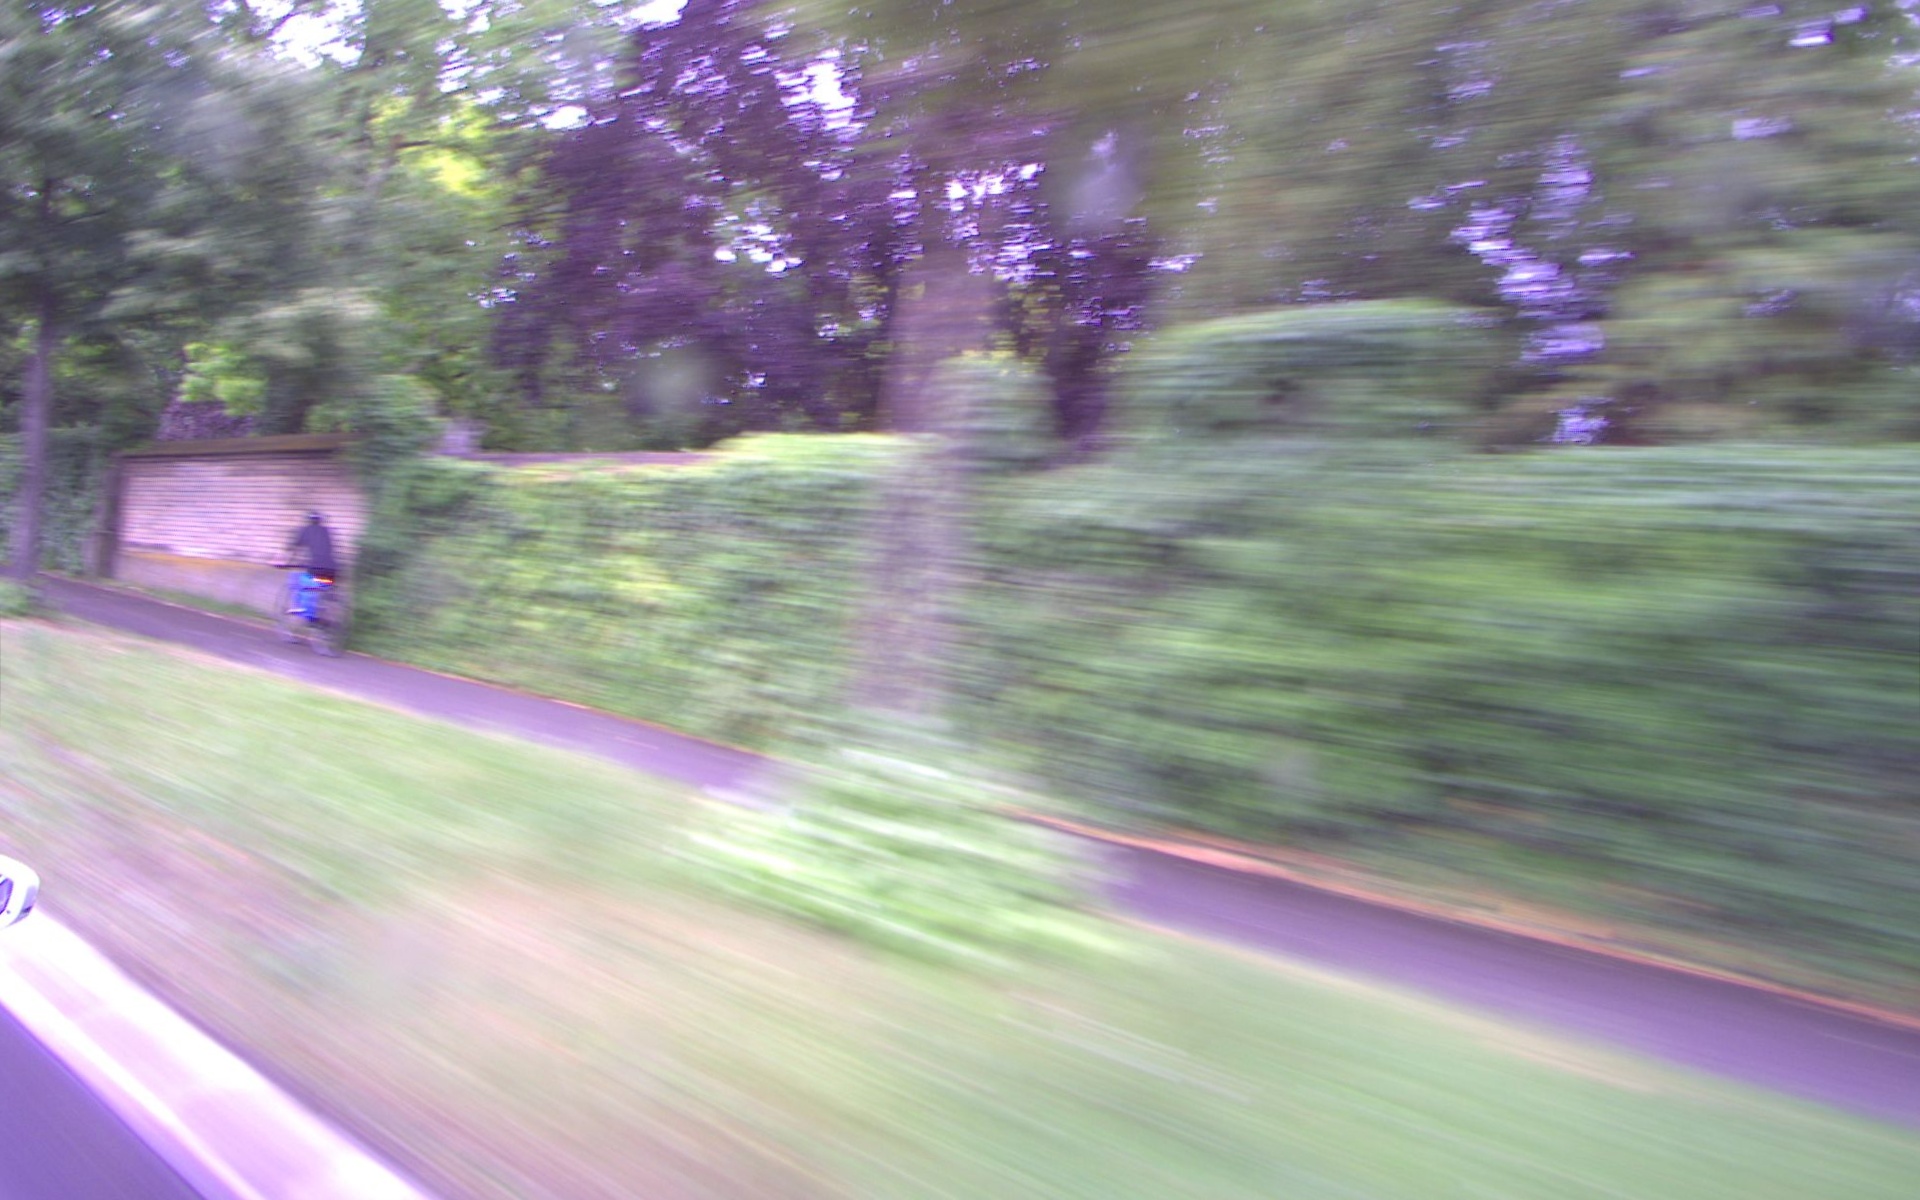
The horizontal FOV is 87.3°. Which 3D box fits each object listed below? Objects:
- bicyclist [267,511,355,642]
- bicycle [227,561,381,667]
[{"bbox_3d":[-7.429,-0.268,11.515,0.656,1.407,0.535,7,1,35],"label":"bicyclist"},{"bbox_3d":[-7.637,0.135,11.650,2.509,0.960,0.543,6,1,35],"label":"bicycle"}]
